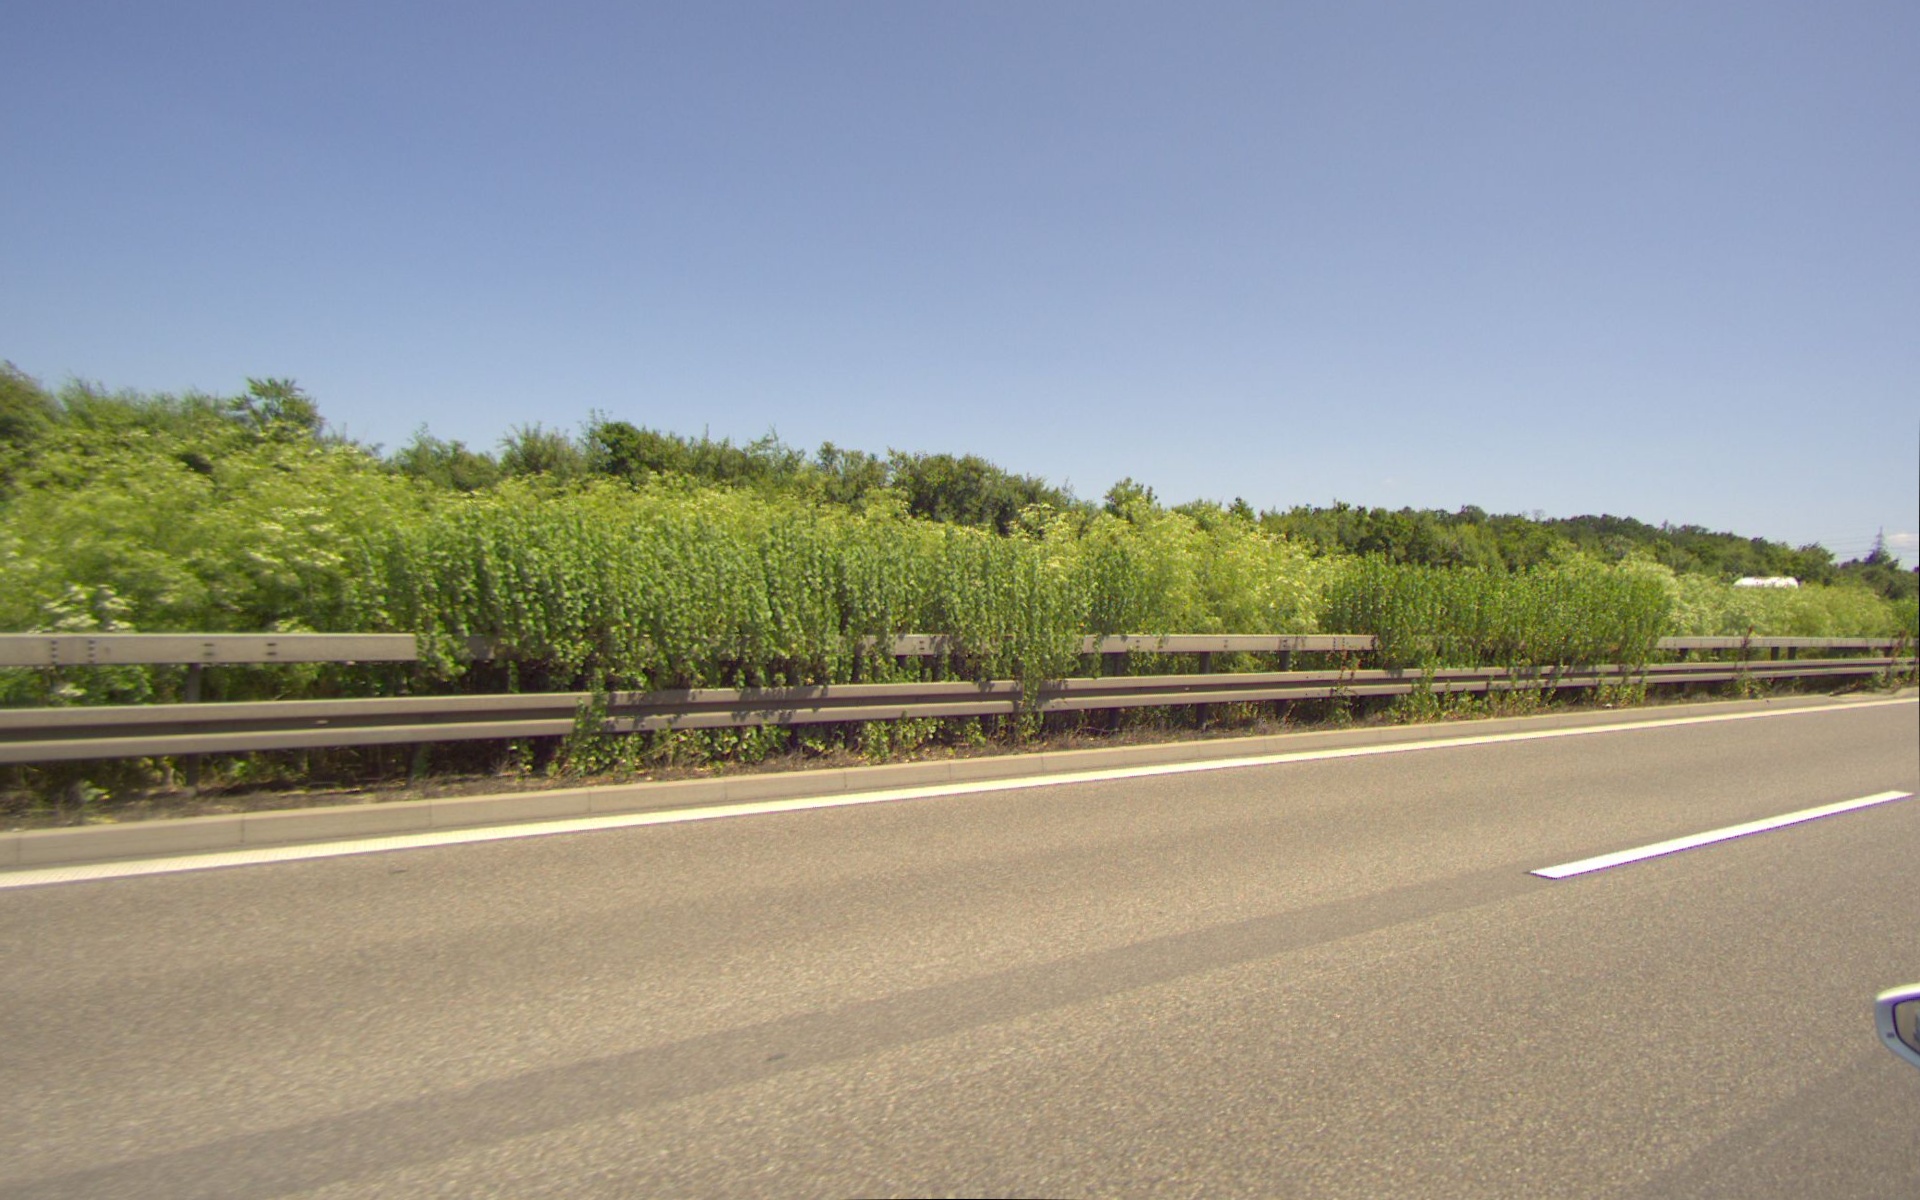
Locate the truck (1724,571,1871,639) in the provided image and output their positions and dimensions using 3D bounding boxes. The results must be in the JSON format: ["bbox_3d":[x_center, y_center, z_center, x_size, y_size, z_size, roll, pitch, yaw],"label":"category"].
[{"bbox_3d":[47.389,0.359,56.552,14.535,3.502,2.443,1,0,-34],"label":"truck"}]

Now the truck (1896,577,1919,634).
[{"bbox_3d":[69.765,0.528,69.673,18.345,3.660,3.208,1,3,-35],"label":"truck"}]
